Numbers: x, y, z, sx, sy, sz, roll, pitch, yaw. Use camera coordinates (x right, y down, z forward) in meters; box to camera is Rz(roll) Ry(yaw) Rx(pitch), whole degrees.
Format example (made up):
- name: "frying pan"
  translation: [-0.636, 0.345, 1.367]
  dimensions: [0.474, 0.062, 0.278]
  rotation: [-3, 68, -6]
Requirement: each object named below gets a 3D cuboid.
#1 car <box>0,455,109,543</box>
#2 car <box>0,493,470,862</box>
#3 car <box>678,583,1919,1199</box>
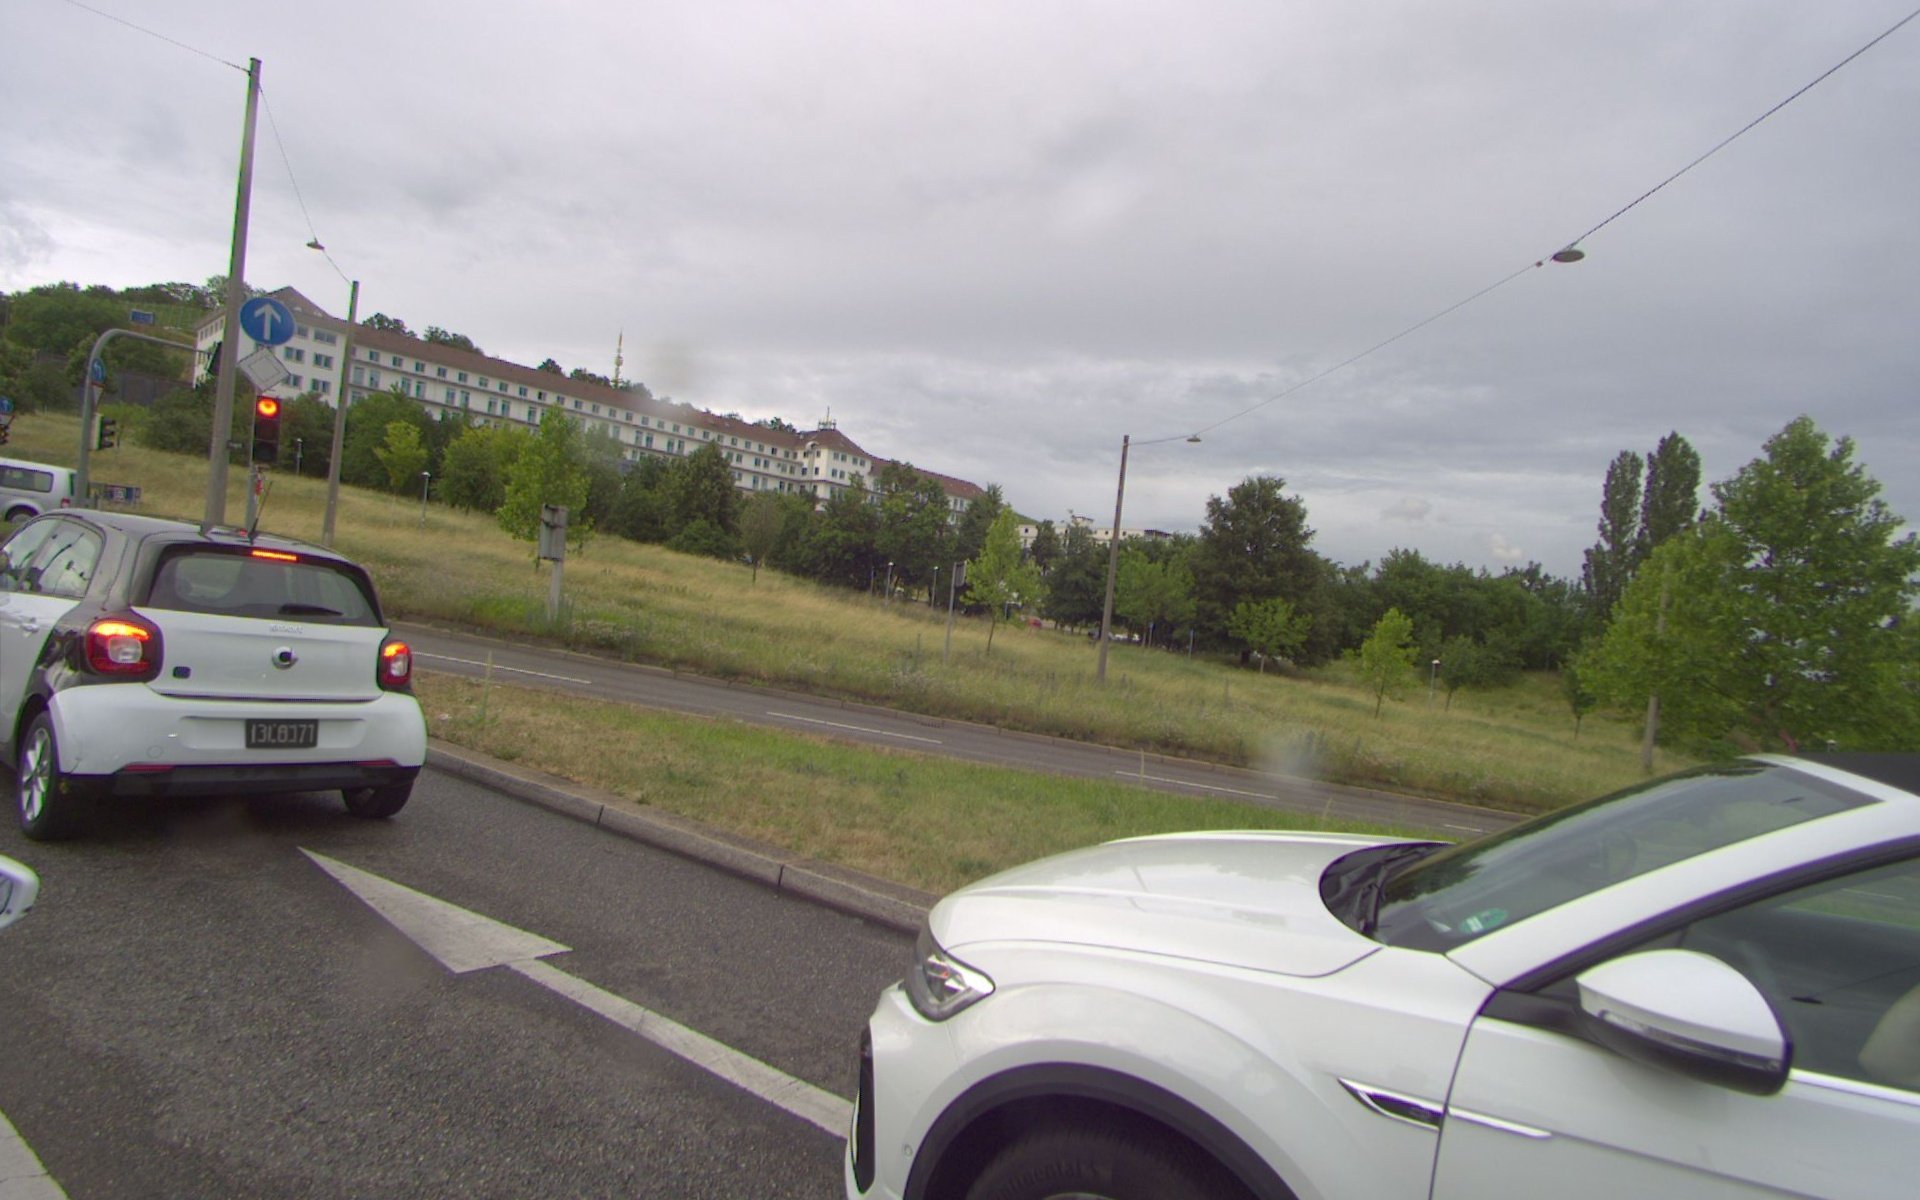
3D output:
- name: "car"
  translation: [-25.019, -2.784, 25.602]
  dimensions: [4.638, 1.871, 1.813]
  rotation: [8, -2, -23]
- name: "car"
  translation: [-4.632, 0.285, 5.851]
  dimensions: [3.397, 1.520, 1.659]
  rotation: [6, -2, 36]
- name: "car"
  translation: [1.696, 1.015, 1.819]
  dimensions: [4.156, 1.571, 1.718]
  rotation: [6, -2, 28]
